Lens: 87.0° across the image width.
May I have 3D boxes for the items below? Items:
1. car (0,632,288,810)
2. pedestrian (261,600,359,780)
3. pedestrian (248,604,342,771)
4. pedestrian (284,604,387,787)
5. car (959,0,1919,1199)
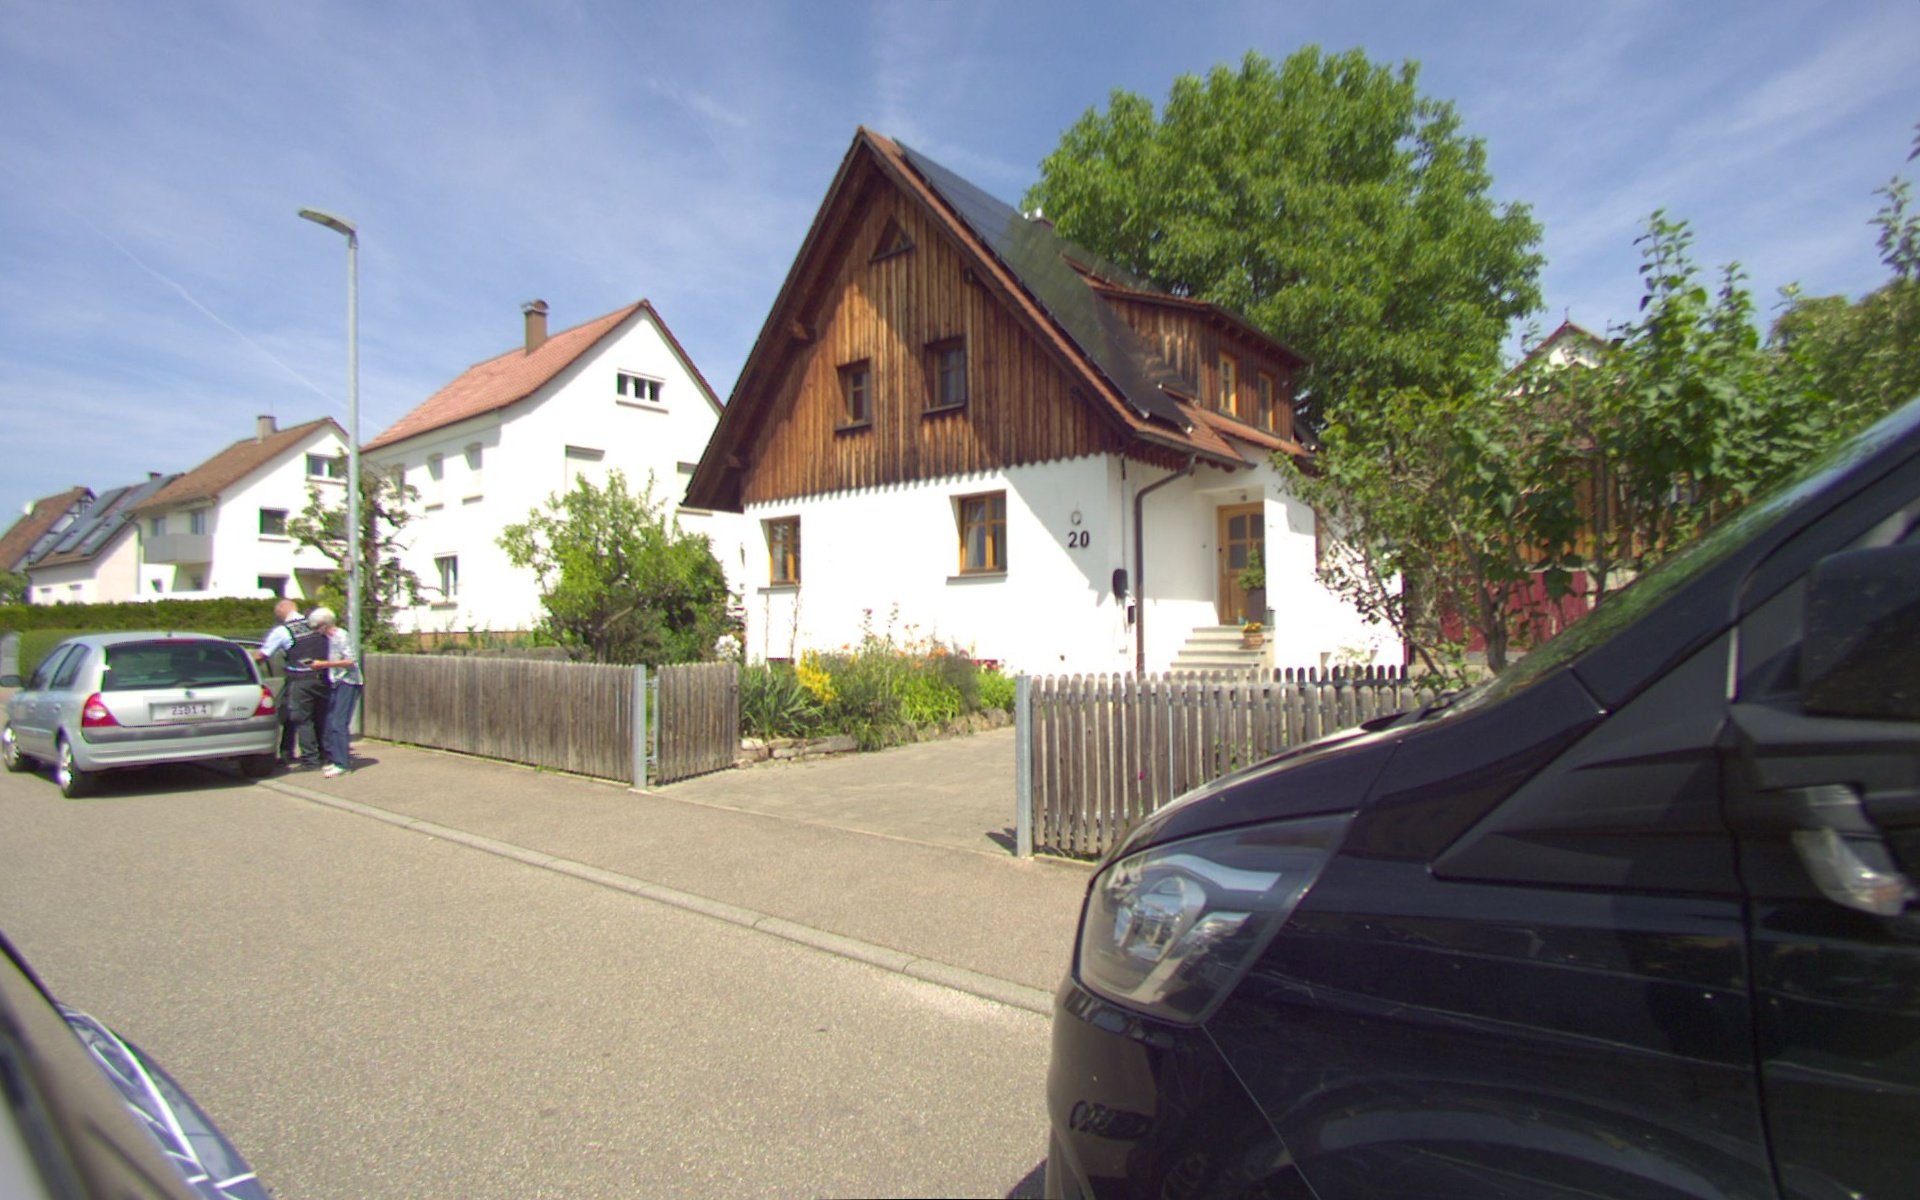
[{"bbox_3d":[-8.123,1.047,9.945,3.261,1.453,1.566,-2,-2,38],"label":"car"},{"bbox_3d":[-6.474,0.864,10.082,0.590,1.694,0.632,-2,0,39],"label":"pedestrian"},{"bbox_3d":[-6.912,0.879,10.522,0.590,1.655,0.632,-2,0,39],"label":"pedestrian"},{"bbox_3d":[-5.975,0.879,9.688,0.599,1.655,0.632,-2,0,39],"label":"pedestrian"},{"bbox_3d":[2.431,0.411,0.681,4.690,1.966,1.949,-2,-2,39],"label":"car"}]
